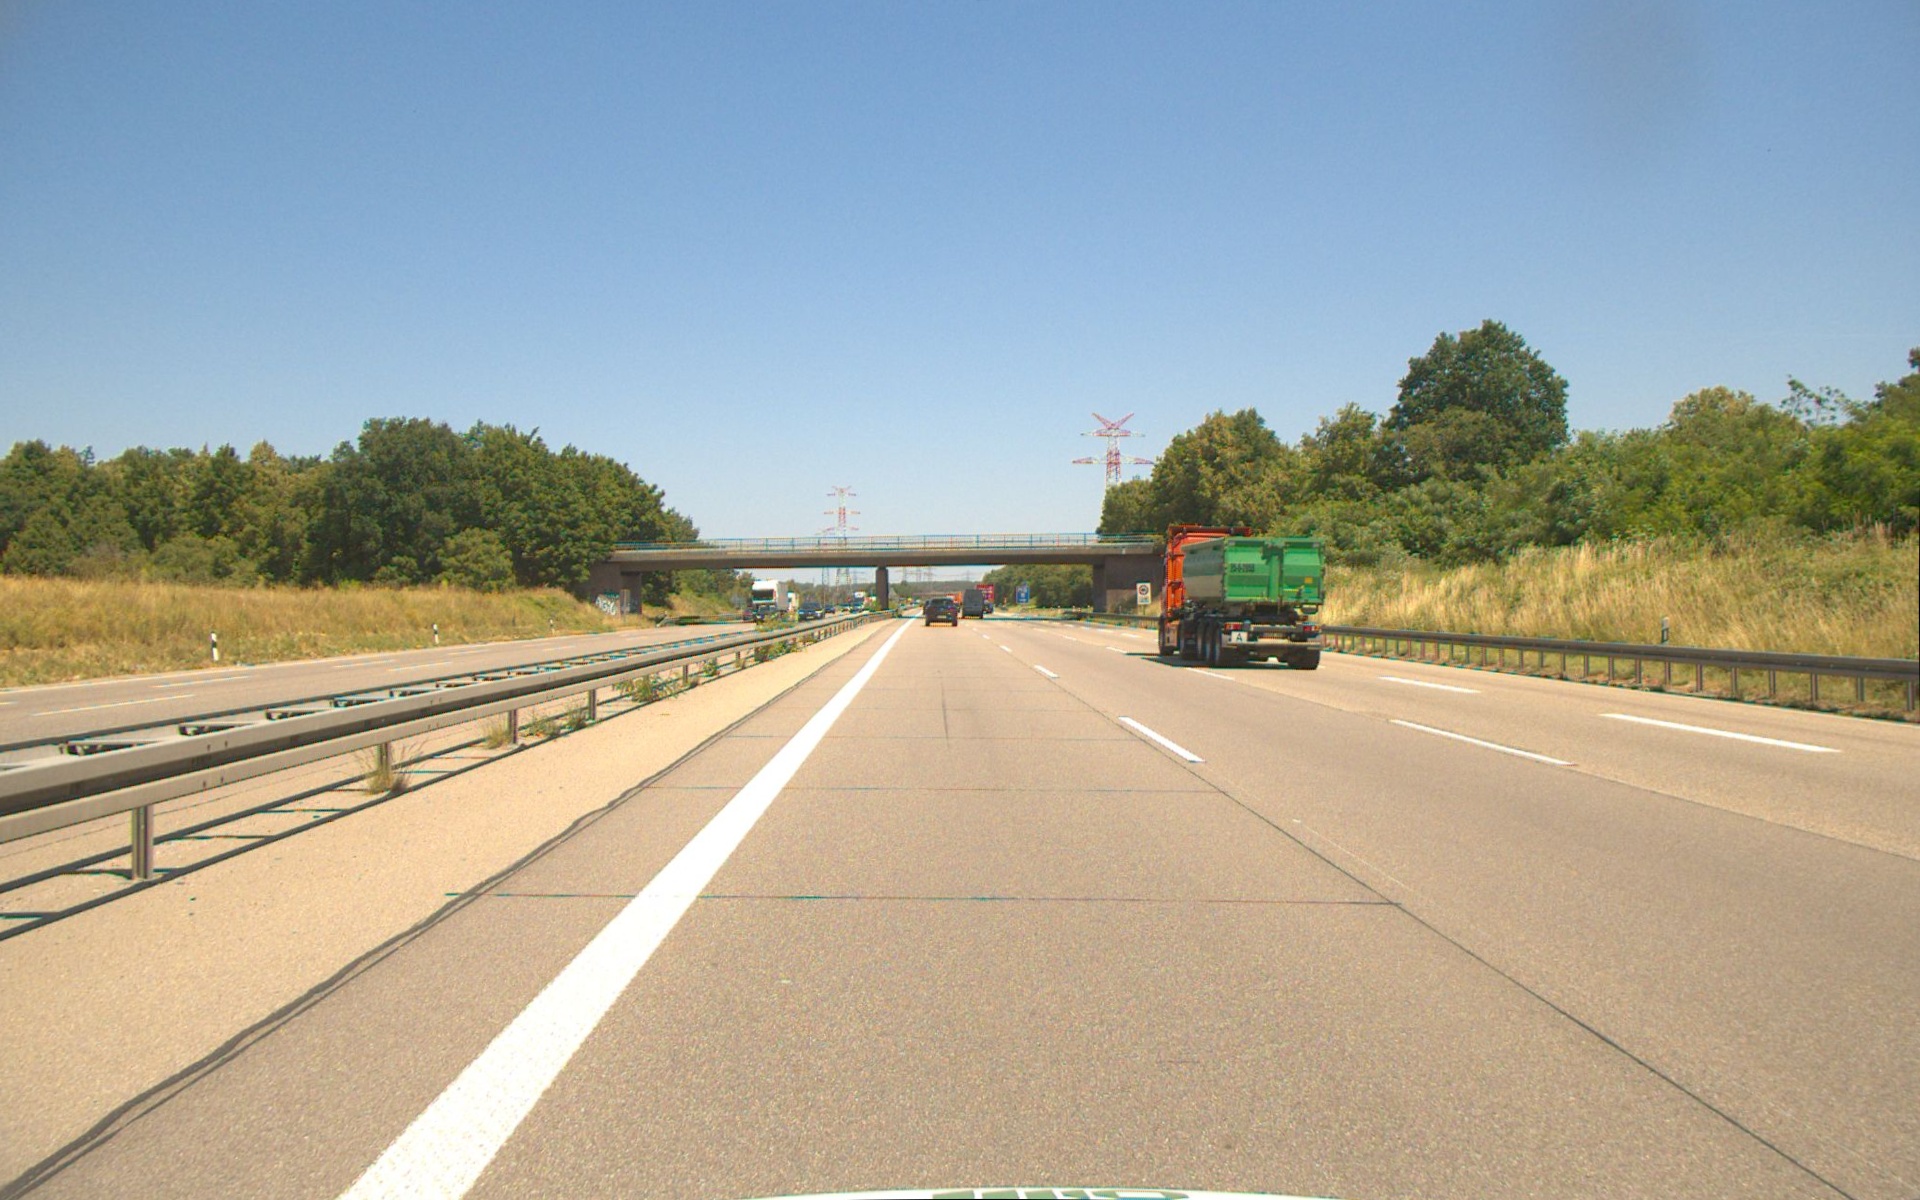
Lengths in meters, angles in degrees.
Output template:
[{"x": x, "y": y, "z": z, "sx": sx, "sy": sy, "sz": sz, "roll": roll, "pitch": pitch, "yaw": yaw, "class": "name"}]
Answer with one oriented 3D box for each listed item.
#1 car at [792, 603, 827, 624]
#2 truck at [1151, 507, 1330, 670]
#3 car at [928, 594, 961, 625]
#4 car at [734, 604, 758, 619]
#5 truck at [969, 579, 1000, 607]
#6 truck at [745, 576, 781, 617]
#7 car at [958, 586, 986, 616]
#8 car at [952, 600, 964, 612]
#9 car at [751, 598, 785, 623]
[{"x": -11.239, "y": 1.003, "z": 123.461, "sx": 2.183, "sy": 1.449, "sz": 5.298, "roll": -2, "pitch": 0, "yaw": -1, "class": "car"}, {"x": 7.493, "y": -0.284, "z": 46.129, "sx": 2.626, "sy": 3.864, "sz": 12.475, "roll": 1, "pitch": 0, "yaw": -1, "class": "truck"}, {"x": -0.972, "y": 0.570, "z": 100.941, "sx": 1.953, "sy": 1.780, "sz": 3.999, "roll": 1, "pitch": 0, "yaw": -1, "class": "car"}, {"x": -24.525, "y": 1.327, "z": 189.442, "sx": 2.183, "sy": 1.639, "sz": 4.786, "roll": -2, "pitch": 0, "yaw": -1, "class": "car"}, {"x": 3.558, "y": -1.031, "z": 247.539, "sx": 4.243, "sy": 4.010, "sz": 16.075, "roll": 1, "pitch": 0, "yaw": 0, "class": "truck"}, {"x": -20.286, "y": -0.392, "z": 170.834, "sx": 2.889, "sy": 4.029, "sz": 6.951, "roll": -3, "pitch": 0, "yaw": -1, "class": "truck"}, {"x": 1.113, "y": 0.112, "z": 162.098, "sx": 2.568, "sy": 2.807, "sz": 6.095, "roll": 1, "pitch": 0, "yaw": -1, "class": "car"}, {"x": -0.304, "y": 0.924, "z": 252.261, "sx": 1.711, "sy": 1.662, "sz": 4.003, "roll": 1, "pitch": 0, "yaw": -1, "class": "car"}, {"x": -15.347, "y": 0.829, "z": 132.298, "sx": 2.183, "sy": 1.843, "sz": 5.298, "roll": -2, "pitch": 0, "yaw": -1, "class": "car"}]
